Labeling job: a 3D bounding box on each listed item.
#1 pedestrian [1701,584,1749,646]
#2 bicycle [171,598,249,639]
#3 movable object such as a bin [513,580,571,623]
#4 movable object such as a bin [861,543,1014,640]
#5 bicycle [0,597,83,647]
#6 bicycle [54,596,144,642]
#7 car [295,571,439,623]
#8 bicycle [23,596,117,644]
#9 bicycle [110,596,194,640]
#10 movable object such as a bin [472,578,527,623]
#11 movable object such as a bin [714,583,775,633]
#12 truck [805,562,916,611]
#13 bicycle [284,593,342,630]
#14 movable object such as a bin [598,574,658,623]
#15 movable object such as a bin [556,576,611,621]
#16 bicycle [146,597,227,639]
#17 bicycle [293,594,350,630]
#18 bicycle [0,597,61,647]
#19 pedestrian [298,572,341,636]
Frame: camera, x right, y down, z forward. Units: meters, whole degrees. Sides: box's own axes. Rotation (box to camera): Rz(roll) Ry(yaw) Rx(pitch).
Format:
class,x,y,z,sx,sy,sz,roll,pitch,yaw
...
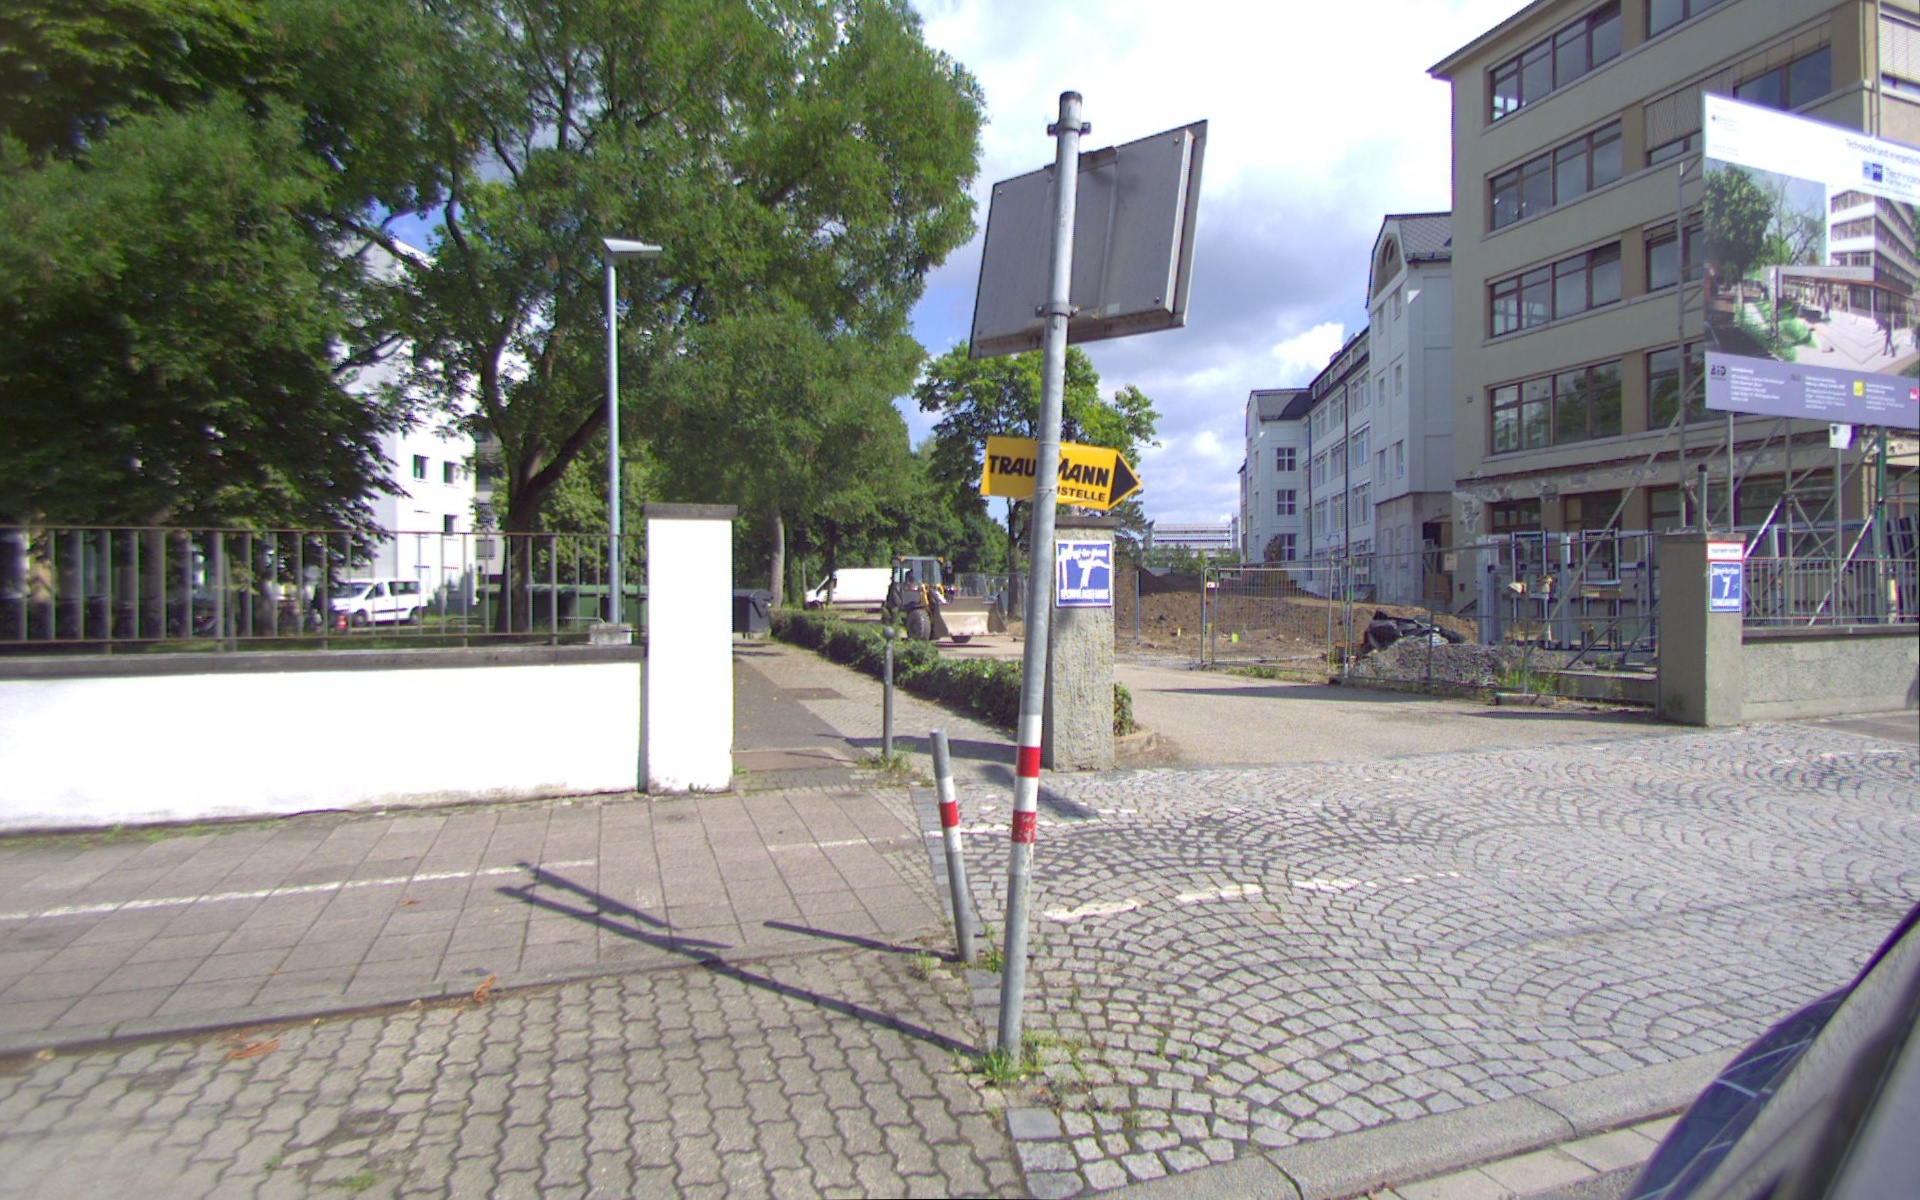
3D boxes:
class,x,y,z,sx,sy,sz,roll,pitch,yaw
pedestrian,17.094,0.334,22.614,0.453,1.330,0.636,-3,-1,-8
bicycle,-18.975,0.454,25.609,1.789,1.000,0.426,1,-1,7
movable object such as a bin,-12.363,0.022,29.967,1.251,1.235,1.027,0,1,5
movable object such as a bin,-0.788,-0.287,28.721,1.960,2.474,5.441,1,1,-29
bicycle,-19.402,0.452,21.223,1.789,1.000,0.426,1,-1,7
bicycle,-19.310,0.431,22.705,1.789,1.000,0.426,1,-1,7
car,-23.291,-0.154,39.995,2.008,1.886,5.075,2,1,12
bicycle,-19.310,0.426,21.963,1.789,1.000,0.426,1,-1,7
bicycle,-19.073,0.429,23.894,1.789,1.000,0.426,1,-1,7
movable object such as a bin,-13.705,0.000,30.139,1.170,1.309,1.002,0,1,5
movable object such as a bin,-6.077,0.206,28.568,1.311,1.374,1.120,1,1,27
truck,-5.878,-0.810,59.993,6.426,2.811,2.003,0,2,-6
bicycle,-18.203,0.326,28.478,1.434,1.000,0.426,1,-1,9
movable object such as a bin,-9.709,-0.056,29.638,1.342,1.369,1.093,0,1,5
movable object such as a bin,-11.065,-0.063,29.766,1.234,1.281,0.999,0,1,5
bicycle,-19.027,0.446,24.889,1.789,1.000,0.426,1,-1,7
bicycle,-18.350,0.340,29.081,1.433,1.000,0.426,1,-1,7
bicycle,-19.378,0.445,20.679,1.789,1.000,0.426,1,-1,7
pedestrian,-16.759,0.097,26.482,0.560,1.644,0.857,0,0,4
